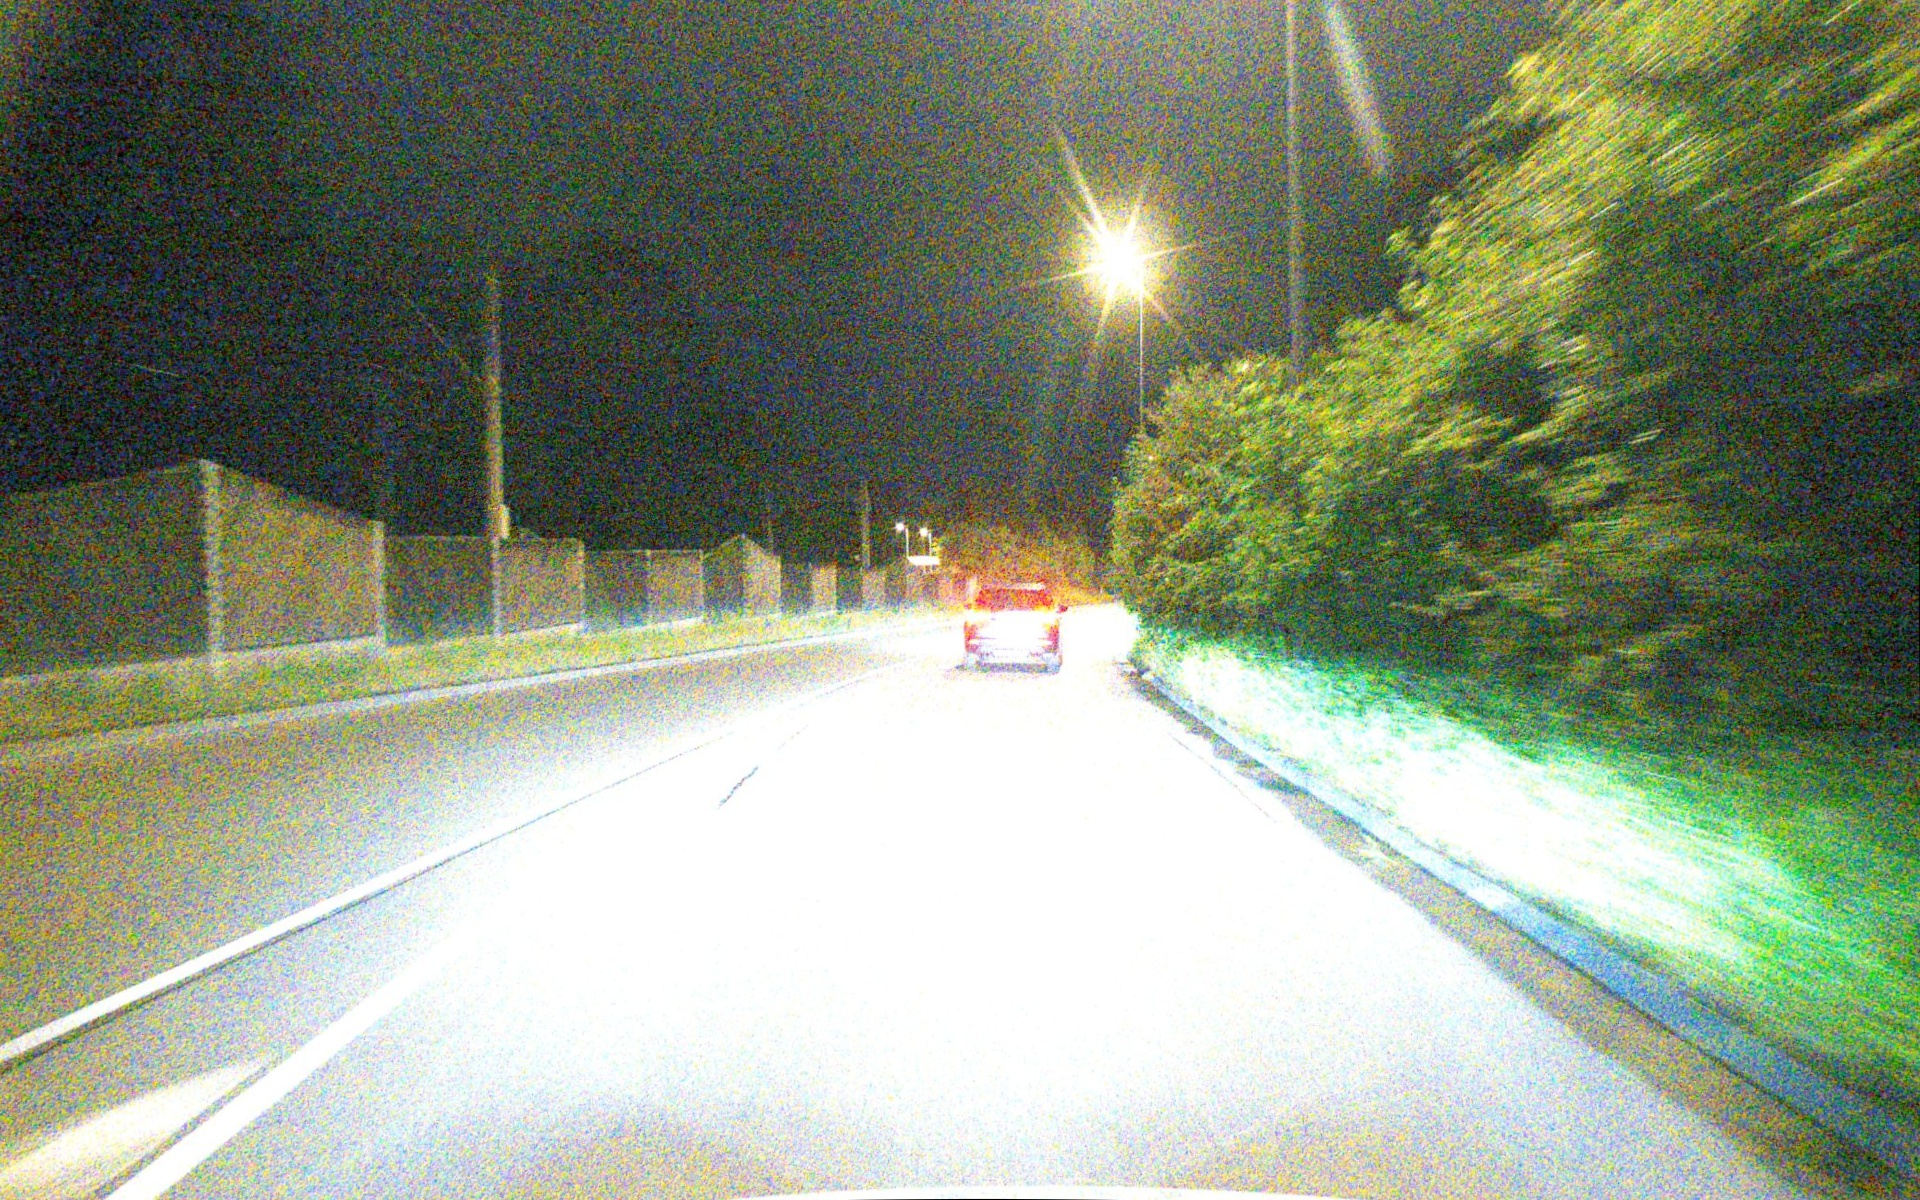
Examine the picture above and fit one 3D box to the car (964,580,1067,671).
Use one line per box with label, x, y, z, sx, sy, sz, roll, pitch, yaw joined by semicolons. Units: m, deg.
car;1.107;0.441;31.389;1.776;1.601;3.946;0;0;4
